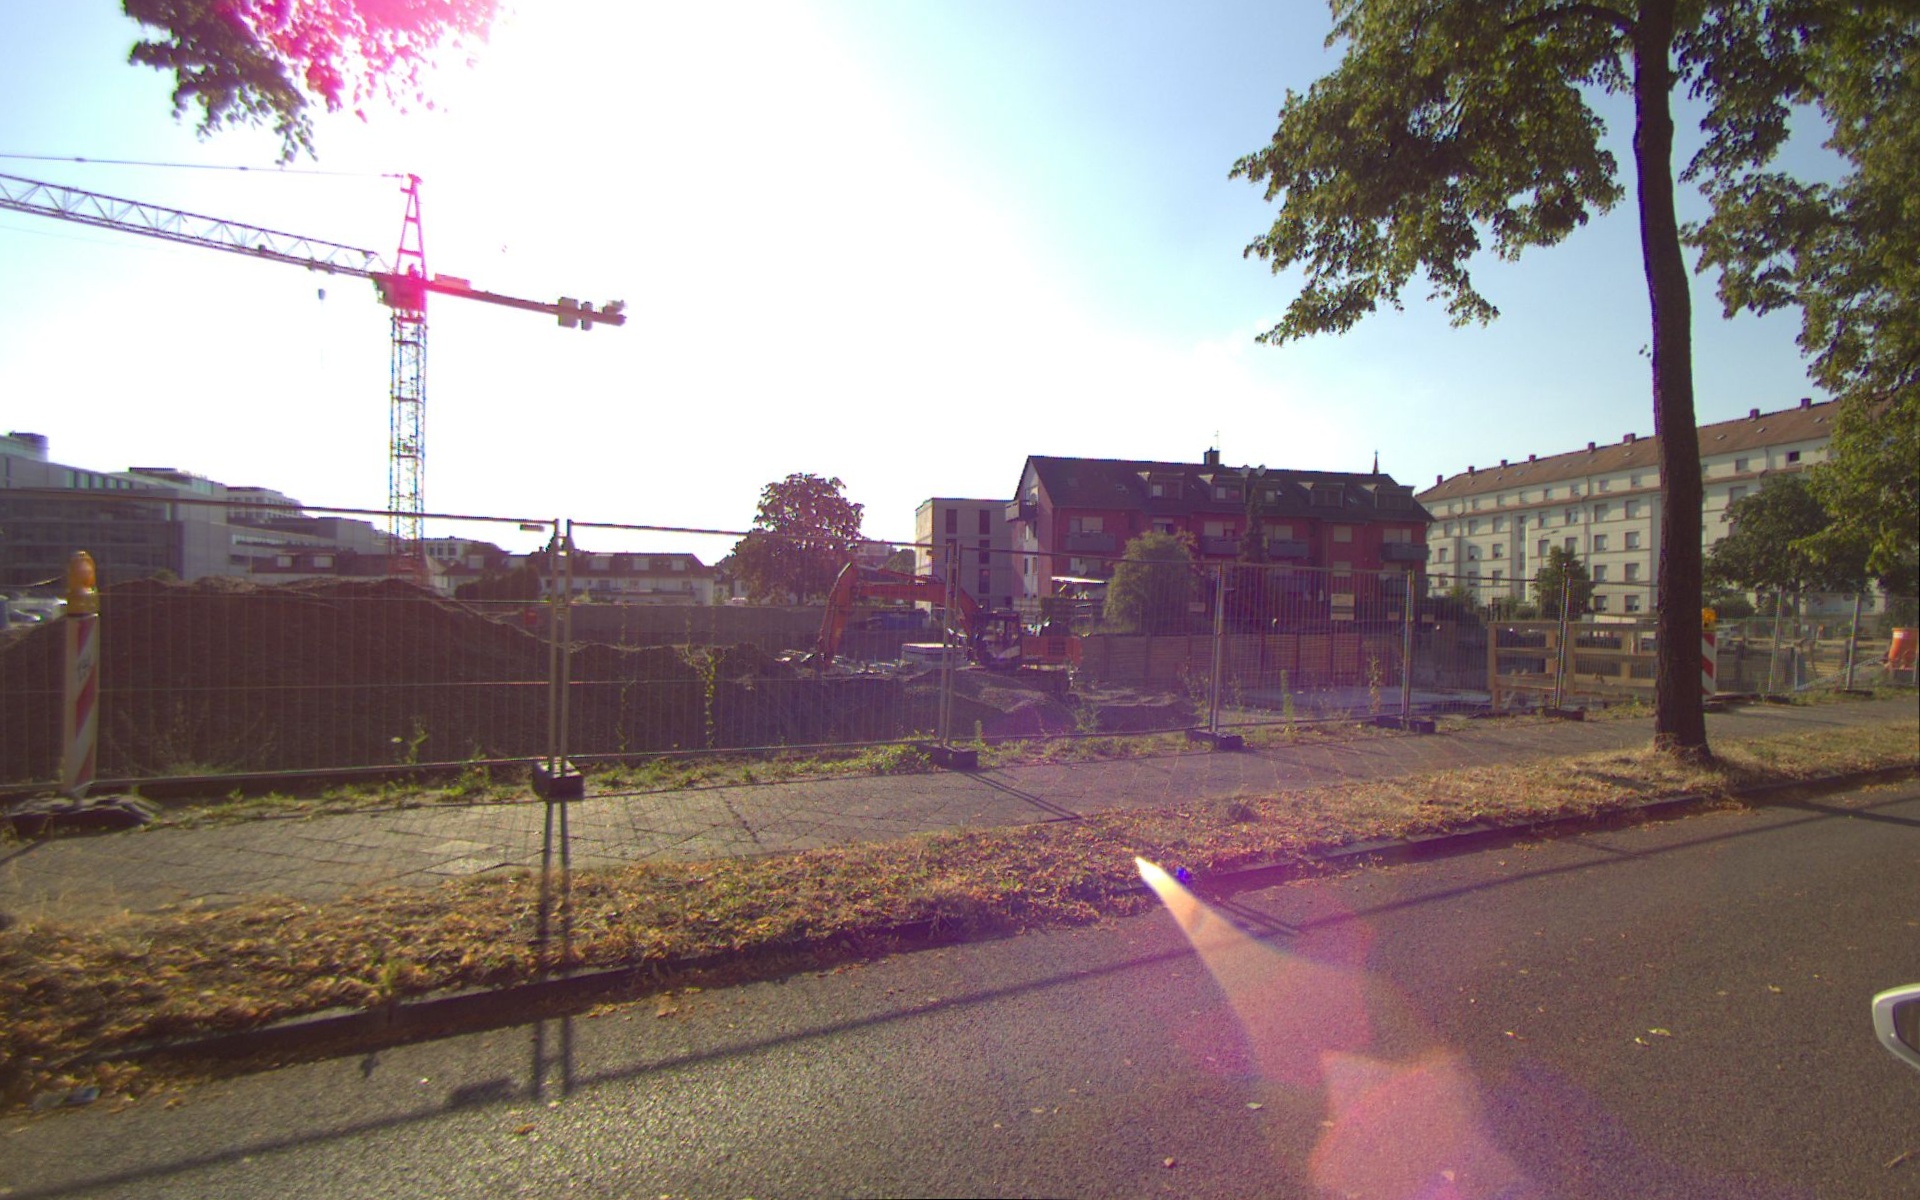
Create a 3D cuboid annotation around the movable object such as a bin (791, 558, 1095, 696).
[{"bbox_3d":[-0.718,1.051,38.907,11.346,5.058,3.017,0,-3,-8],"label":"movable object such as a bin"}]
